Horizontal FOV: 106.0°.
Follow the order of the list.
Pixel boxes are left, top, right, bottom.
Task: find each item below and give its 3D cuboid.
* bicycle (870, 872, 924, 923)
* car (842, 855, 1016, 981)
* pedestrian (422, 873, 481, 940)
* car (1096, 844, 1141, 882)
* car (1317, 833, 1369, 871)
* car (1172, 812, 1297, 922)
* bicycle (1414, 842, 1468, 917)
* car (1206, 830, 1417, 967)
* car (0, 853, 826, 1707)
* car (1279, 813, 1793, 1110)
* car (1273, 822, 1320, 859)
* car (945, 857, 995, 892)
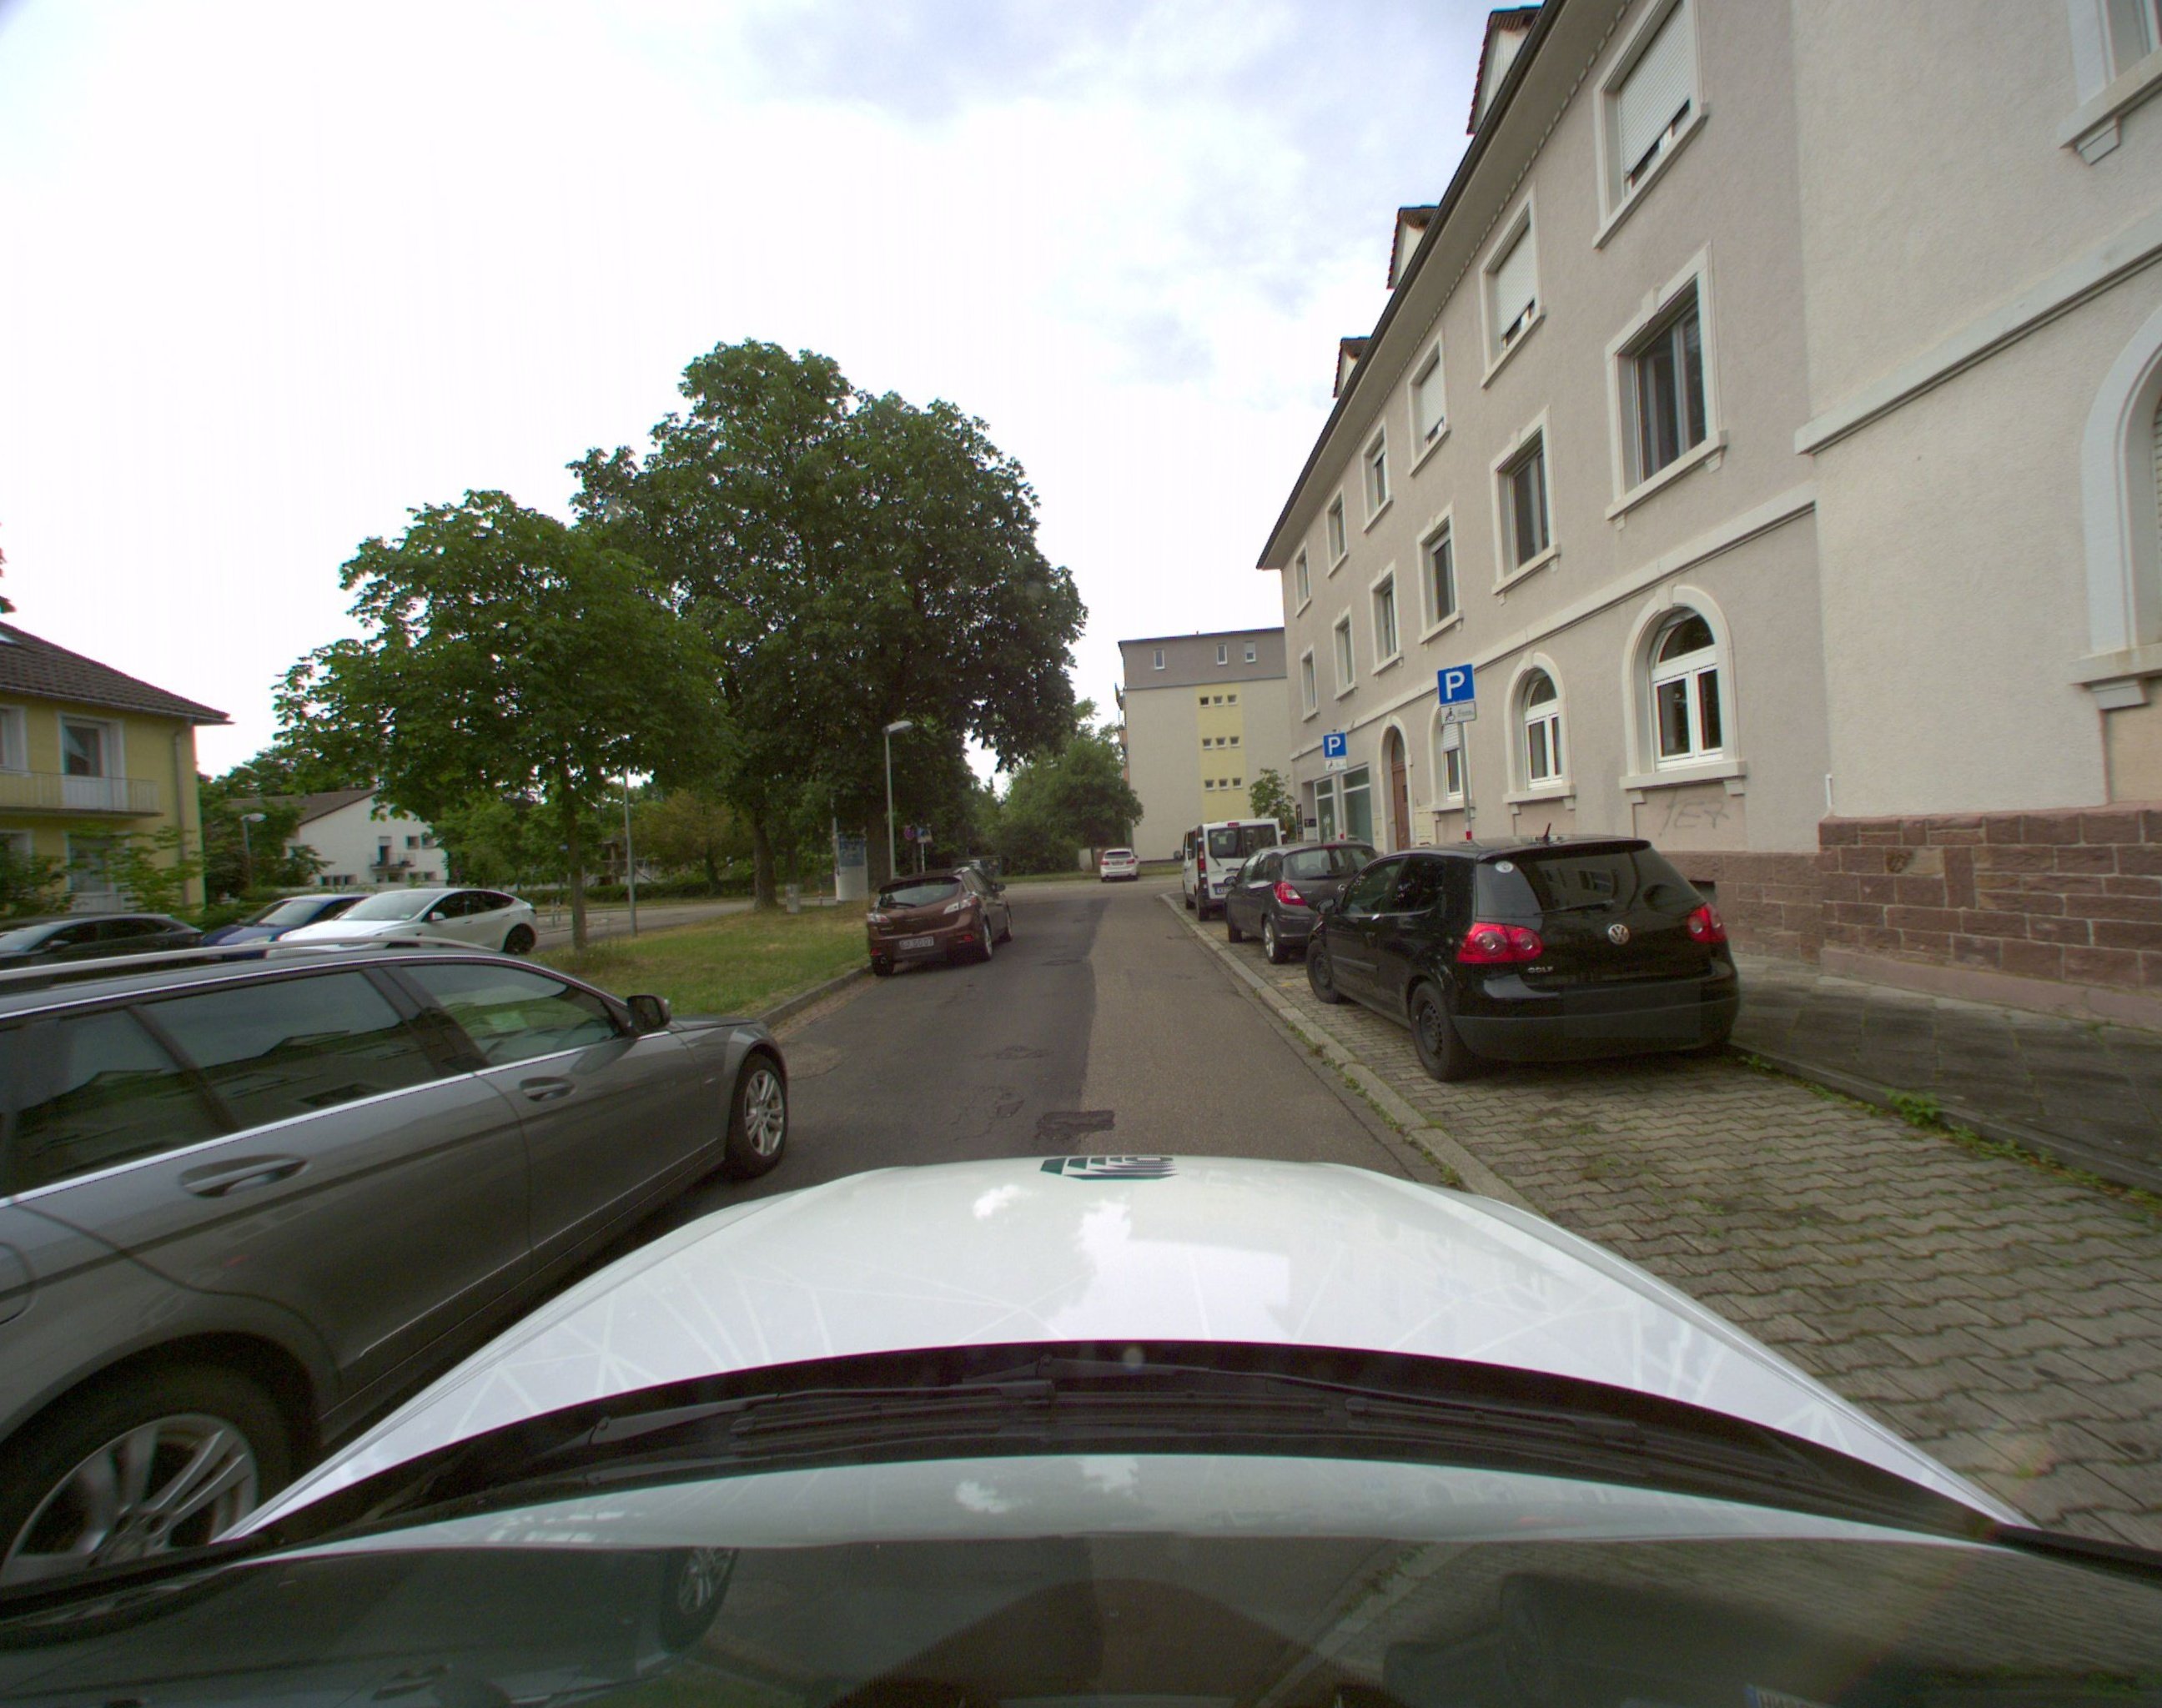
[{"bbox_3d":[-4.272,0.990,19.049,0.663,1.066,1.887,-3,0,4],"label":"bicycle"},{"bbox_3d":[-2.211,0.868,13.055,1.704,1.458,4.164,-8,0,2],"label":"car"},{"bbox_3d":[-18.510,1.533,23.957,1.226,1.836,0.868,-3,-1,-45],"label":"pedestrian"},{"bbox_3d":[1.921,0.403,40.665,1.868,1.560,4.158,-2,3,7],"label":"car"},{"bbox_3d":[12.861,-0.133,40.213,1.898,1.697,4.081,-3,1,11],"label":"car"},{"bbox_3d":[3.234,0.233,18.193,1.871,1.995,5.015,-4,0,2],"label":"car"},{"bbox_3d":[5.976,0.409,13.565,0.318,1.182,1.156,-3,0,0],"label":"bicycle"},{"bbox_3d":[3.011,0.514,11.507,1.683,1.454,3.899,-5,0,-1],"label":"car"},{"bbox_3d":[-2.486,0.843,2.510,1.704,1.458,4.450,-7,0,2],"label":"car"},{"bbox_3d":[3.002,0.563,6.664,1.681,1.454,4.546,-5,0,2],"label":"car"},{"bbox_3d":[10.385,-0.675,39.546,1.824,1.565,4.370,-3,1,11],"label":"car"},{"bbox_3d":[-5.570,0.988,41.389,1.668,1.454,4.563,-3,1,2],"label":"car"}]
